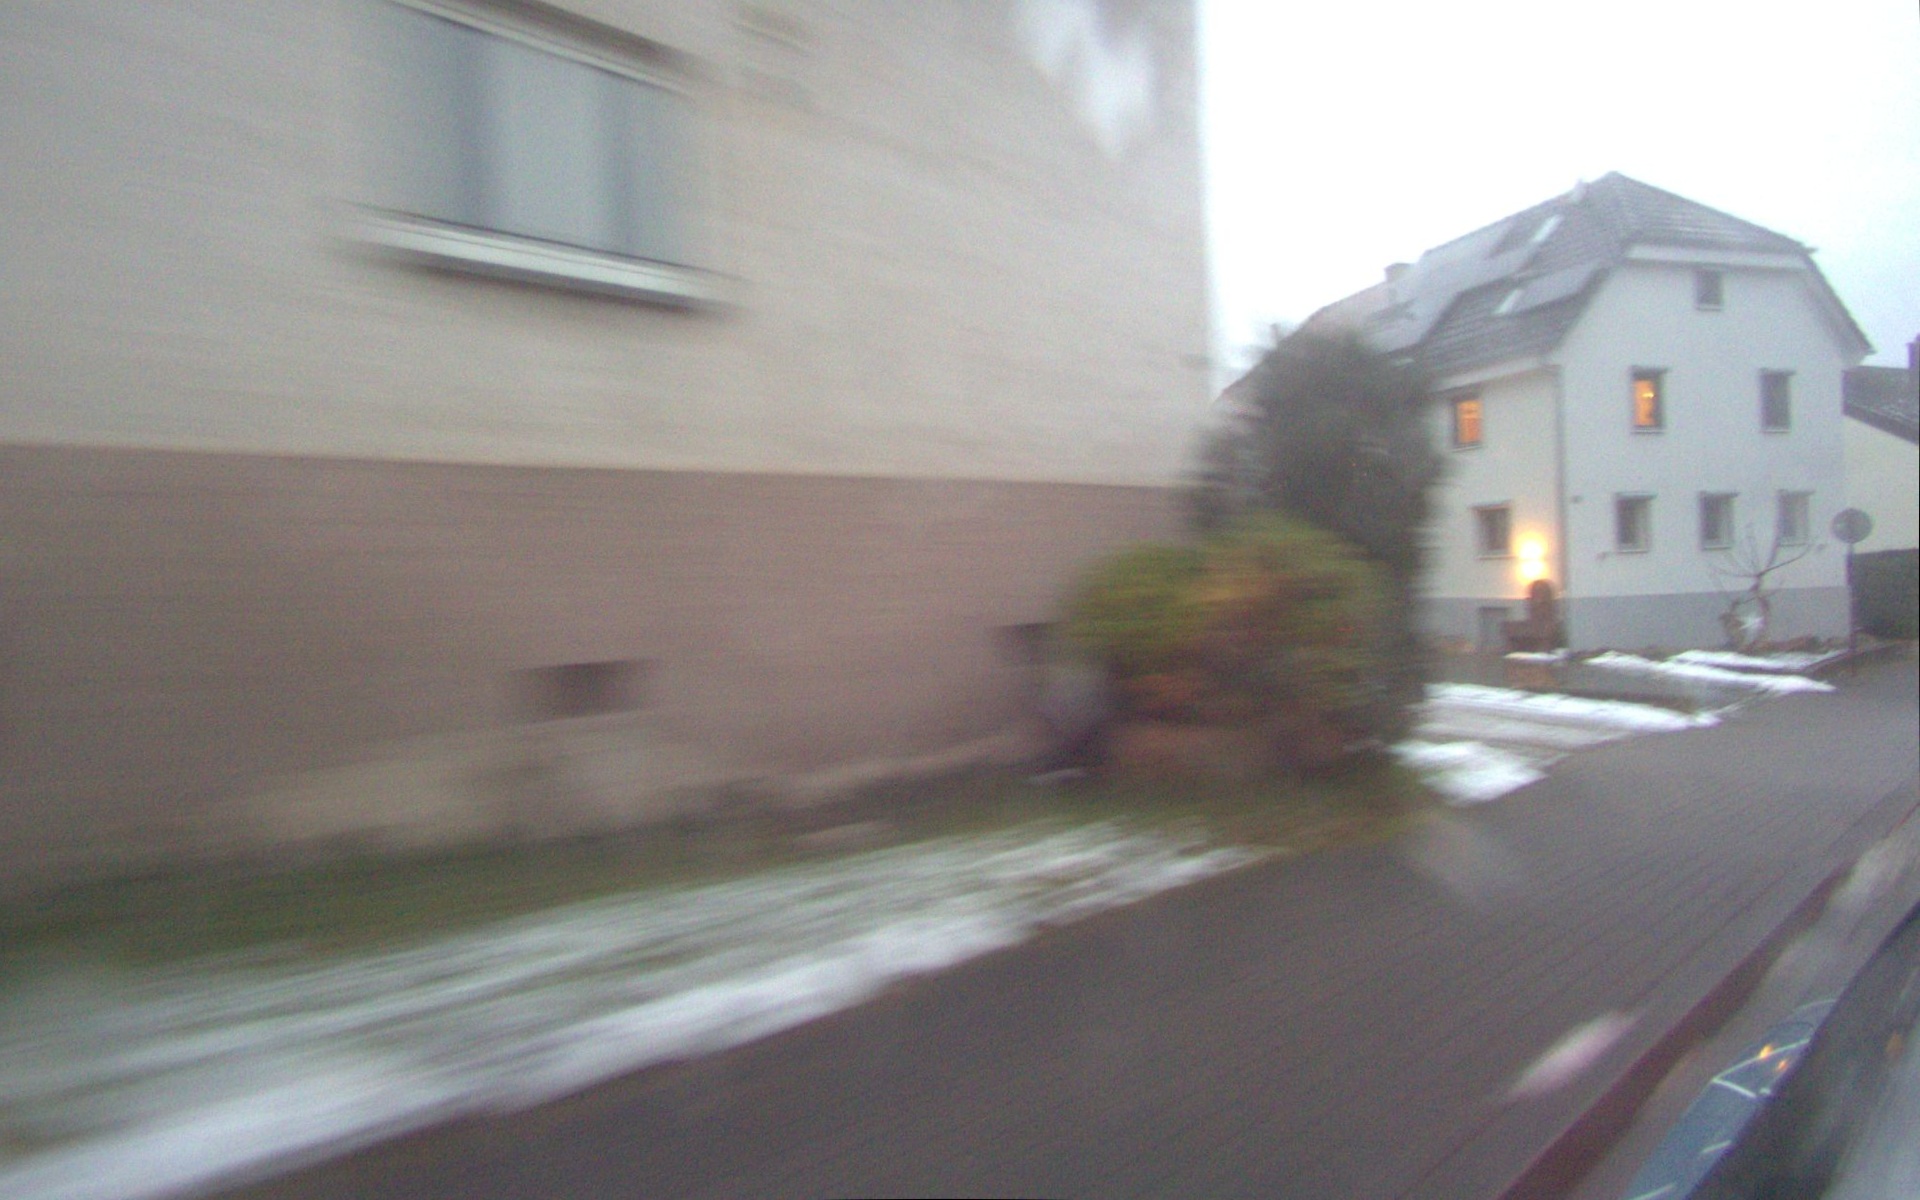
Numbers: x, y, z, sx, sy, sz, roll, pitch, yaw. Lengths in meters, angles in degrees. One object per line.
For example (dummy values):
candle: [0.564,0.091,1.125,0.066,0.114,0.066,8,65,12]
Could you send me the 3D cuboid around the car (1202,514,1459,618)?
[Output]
car: [6.645,-0.512,18.520,1.962,1.639,3.999,1,-2,-35]
